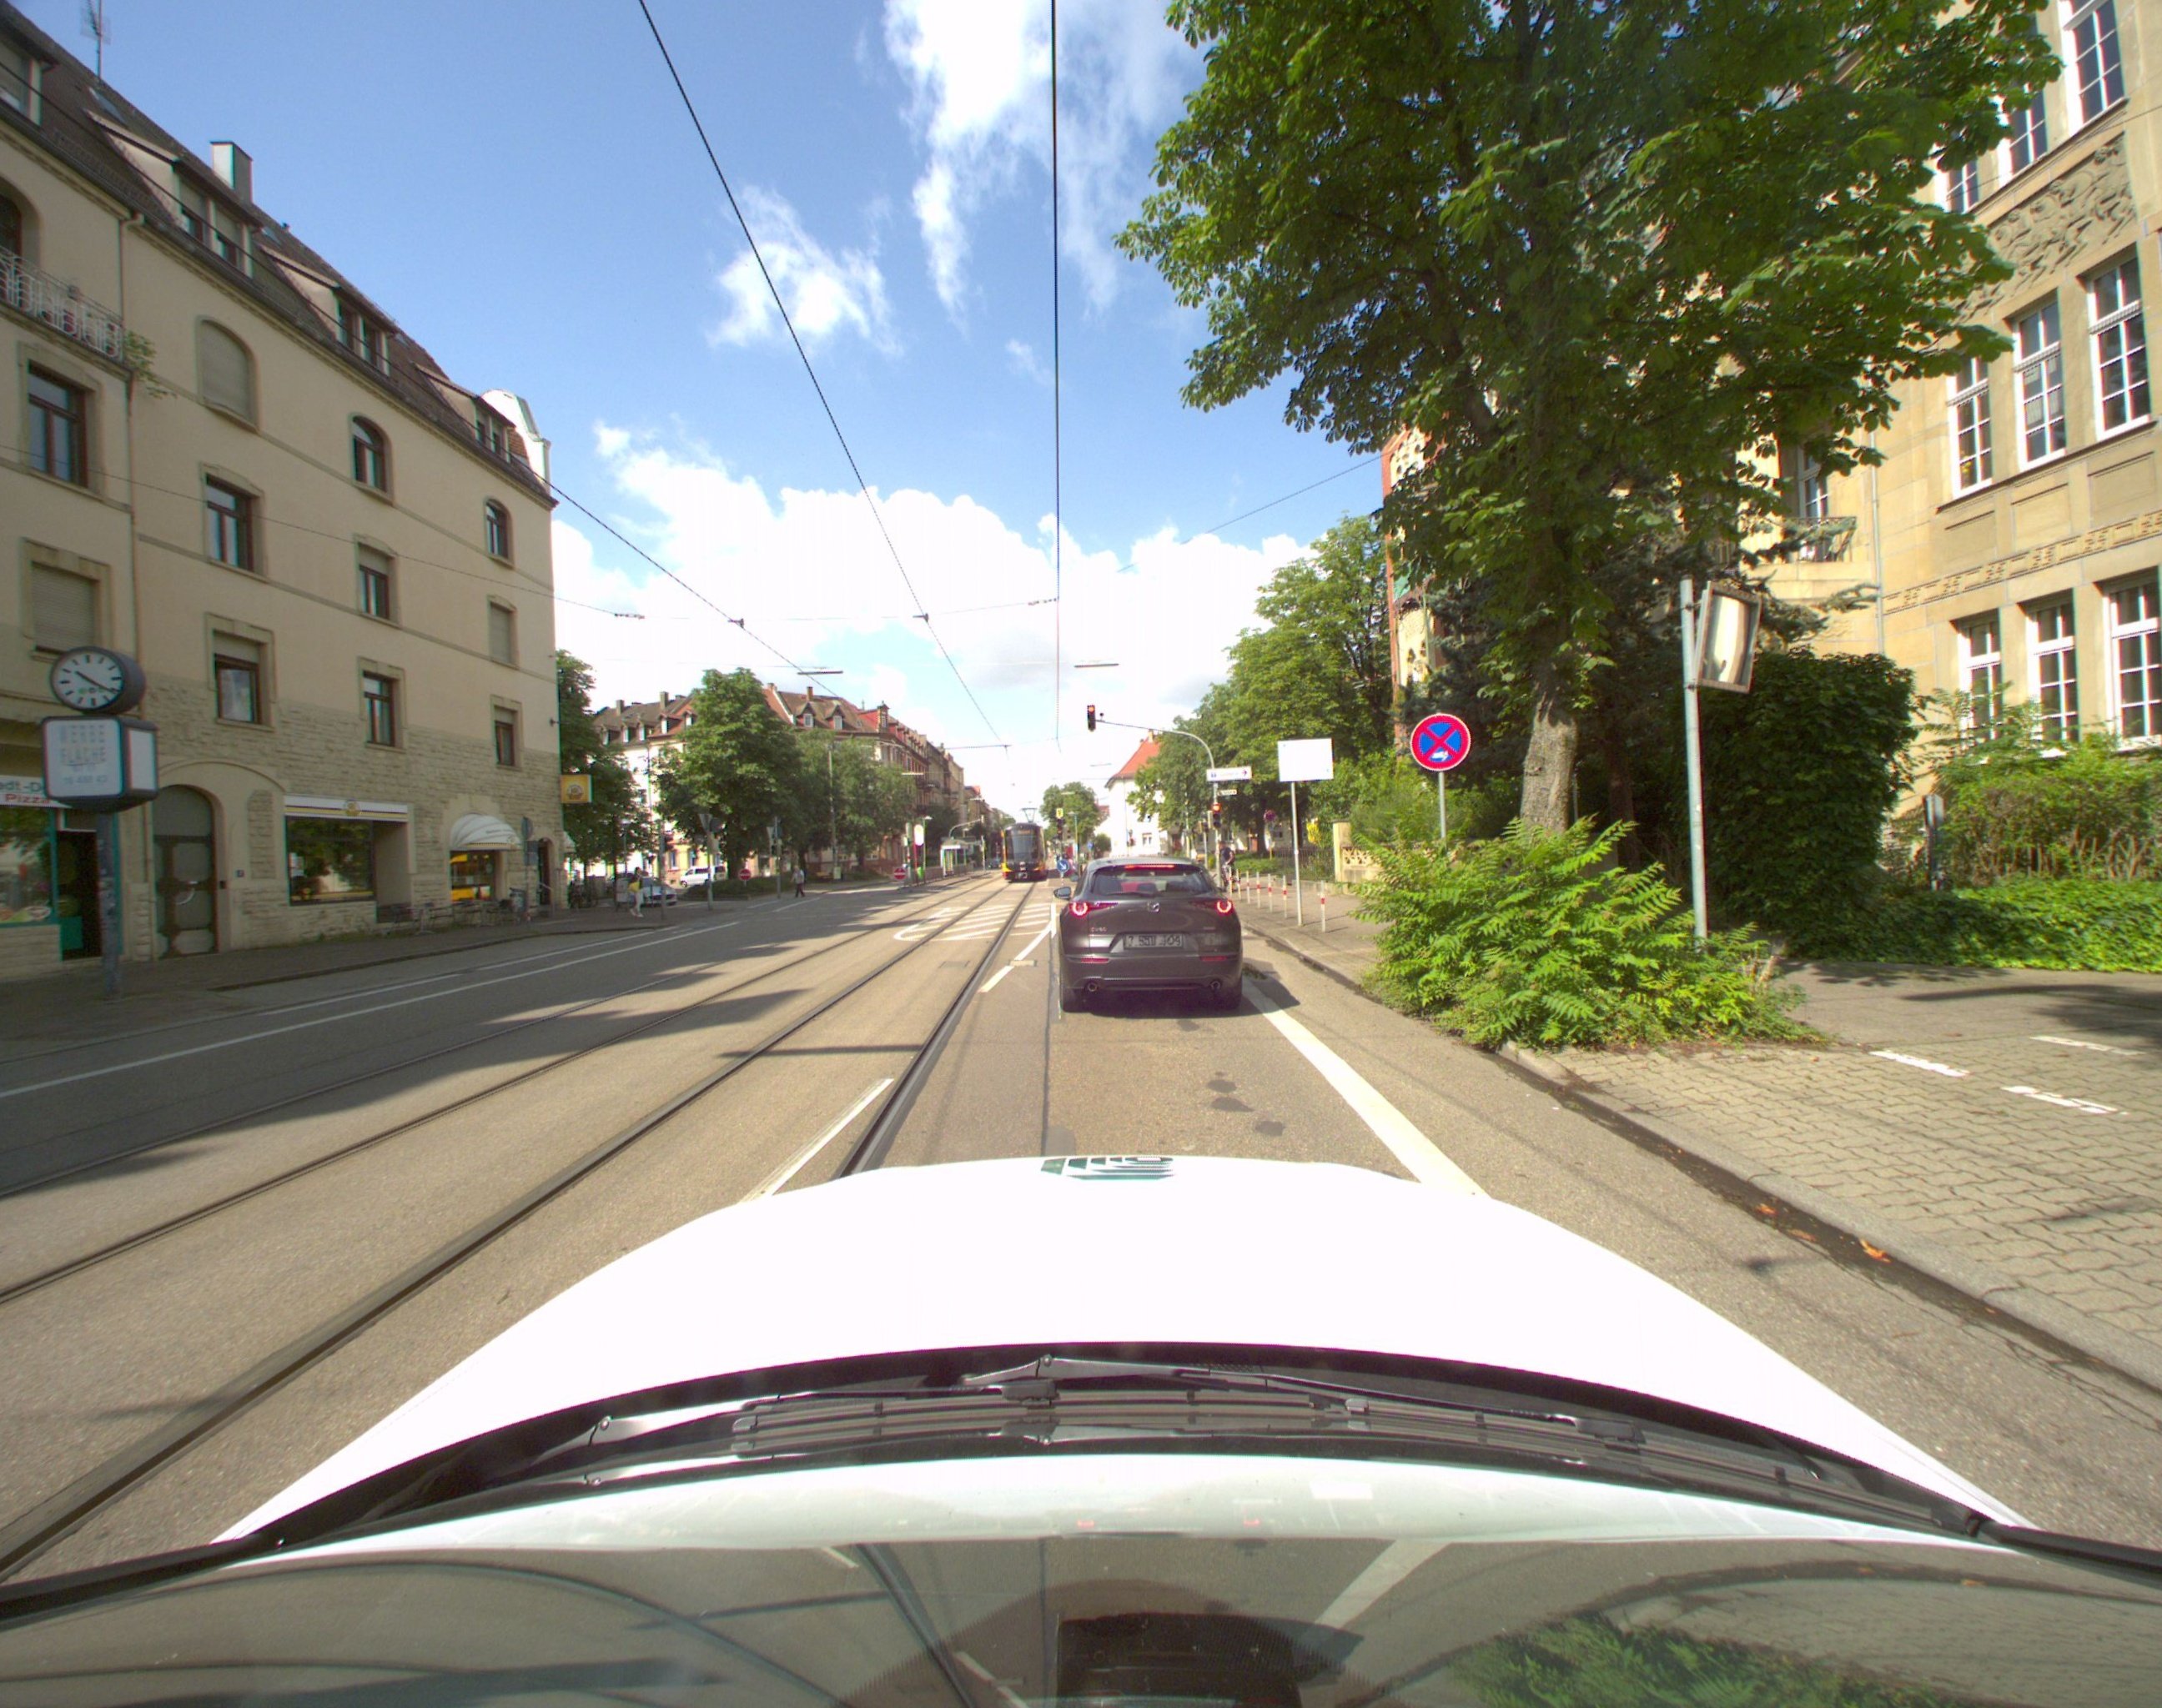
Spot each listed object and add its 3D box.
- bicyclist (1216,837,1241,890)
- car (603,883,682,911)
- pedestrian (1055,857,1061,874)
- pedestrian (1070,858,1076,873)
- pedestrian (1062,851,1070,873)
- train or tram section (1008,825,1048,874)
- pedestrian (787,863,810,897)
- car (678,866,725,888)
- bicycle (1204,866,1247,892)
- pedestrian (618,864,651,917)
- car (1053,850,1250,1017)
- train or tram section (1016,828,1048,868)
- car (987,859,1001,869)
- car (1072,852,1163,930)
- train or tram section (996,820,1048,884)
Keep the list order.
[{"bbox_3d":[5.118,0.341,28.319,0.608,1.793,0.656,-2,0,-8],"label":"bicyclist"},{"bbox_3d":[-21.069,2.058,39.106,3.948,1.182,1.689,-3,0,35],"label":"car"},{"bbox_3d":[-1.524,0.743,53.732,0.379,1.071,0.474,-3,0,-3],"label":"pedestrian"},{"bbox_3d":[-0.522,0.777,54.097,0.379,0.984,0.474,-3,0,-3],"label":"pedestrian"},{"bbox_3d":[-1.013,0.496,53.955,0.449,1.434,0.474,-3,0,-3],"label":"pedestrian"},{"bbox_3d":[-4.194,-0.437,67.396,2.746,3.490,14.396,-3,1,-2],"label":"train or tram section"},{"bbox_3d":[-14.479,1.338,41.701,0.817,1.705,0.720,-3,0,7],"label":"pedestrian"},{"bbox_3d":[-37.071,2.229,79.553,3.950,1.903,2.012,-3,0,26],"label":"car"},{"bbox_3d":[5.077,0.870,28.587,1.708,0.824,0.488,-3,0,-40],"label":"bicycle"},{"bbox_3d":[-15.307,1.253,27.925,0.683,1.754,0.798,-3,0,-10],"label":"pedestrian"},{"bbox_3d":[0.689,0.717,9.383,1.772,1.499,4.001,-1,0,1],"label":"car"},{"bbox_3d":[-4.763,-0.665,81.769,2.746,3.490,14.396,-3,1,-2],"label":"train or tram section"},{"bbox_3d":[-11.765,1.364,110.297,1.610,1.310,3.625,-3,0,-2],"label":"car"},{"bbox_3d":[0.773,0.725,17.993,1.772,1.499,4.001,-1,0,1],"label":"car"},{"bbox_3d":[-3.630,-0.217,53.025,2.746,3.490,14.396,-3,1,-2],"label":"train or tram section"}]
